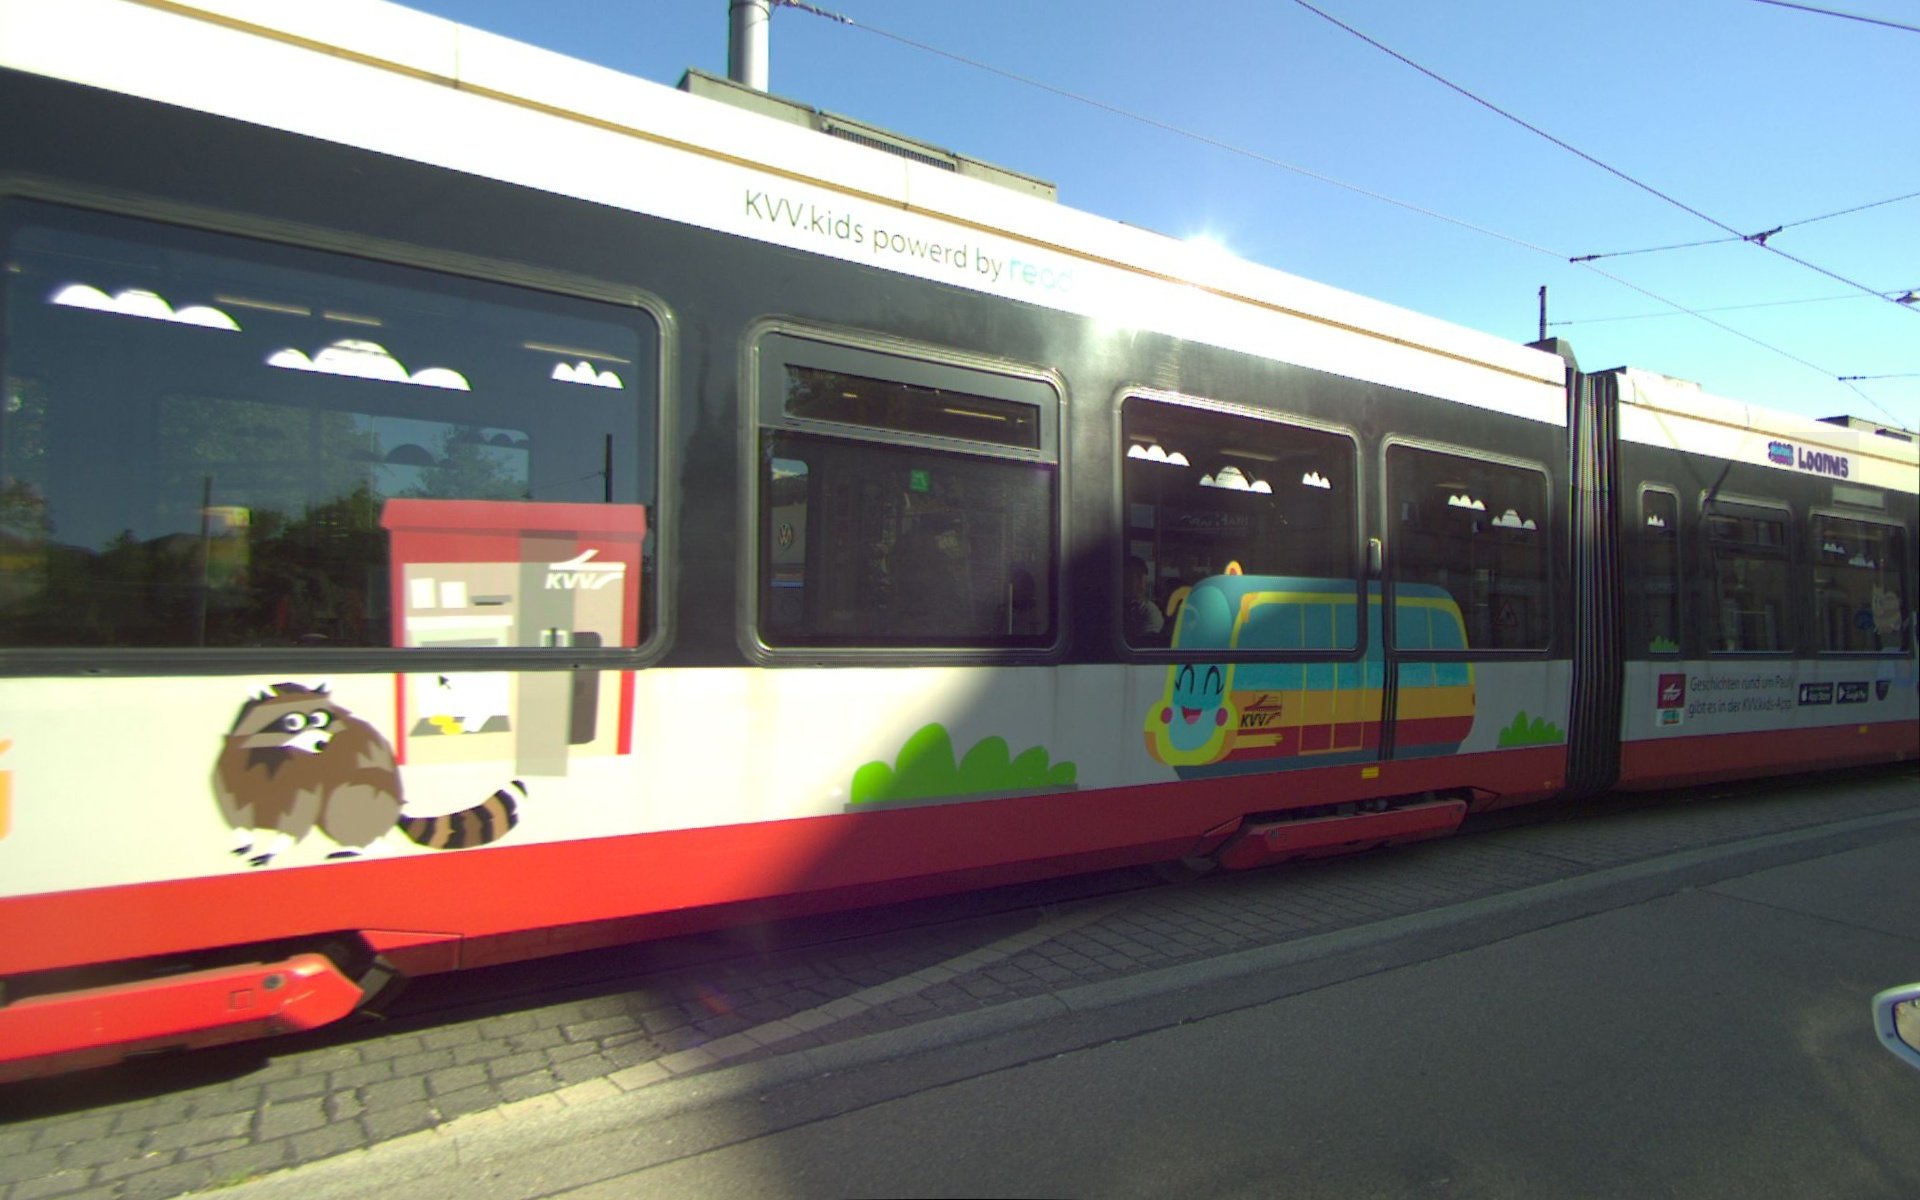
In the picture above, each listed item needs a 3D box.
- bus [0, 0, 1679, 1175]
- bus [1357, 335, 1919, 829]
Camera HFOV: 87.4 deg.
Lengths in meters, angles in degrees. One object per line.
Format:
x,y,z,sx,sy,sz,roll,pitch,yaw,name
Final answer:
0.049,-0.298,5.722,10.609,3.637,2.825,2,0,-33,bus
9.489,0.018,11.323,11.132,3.637,2.829,2,0,-29,bus
